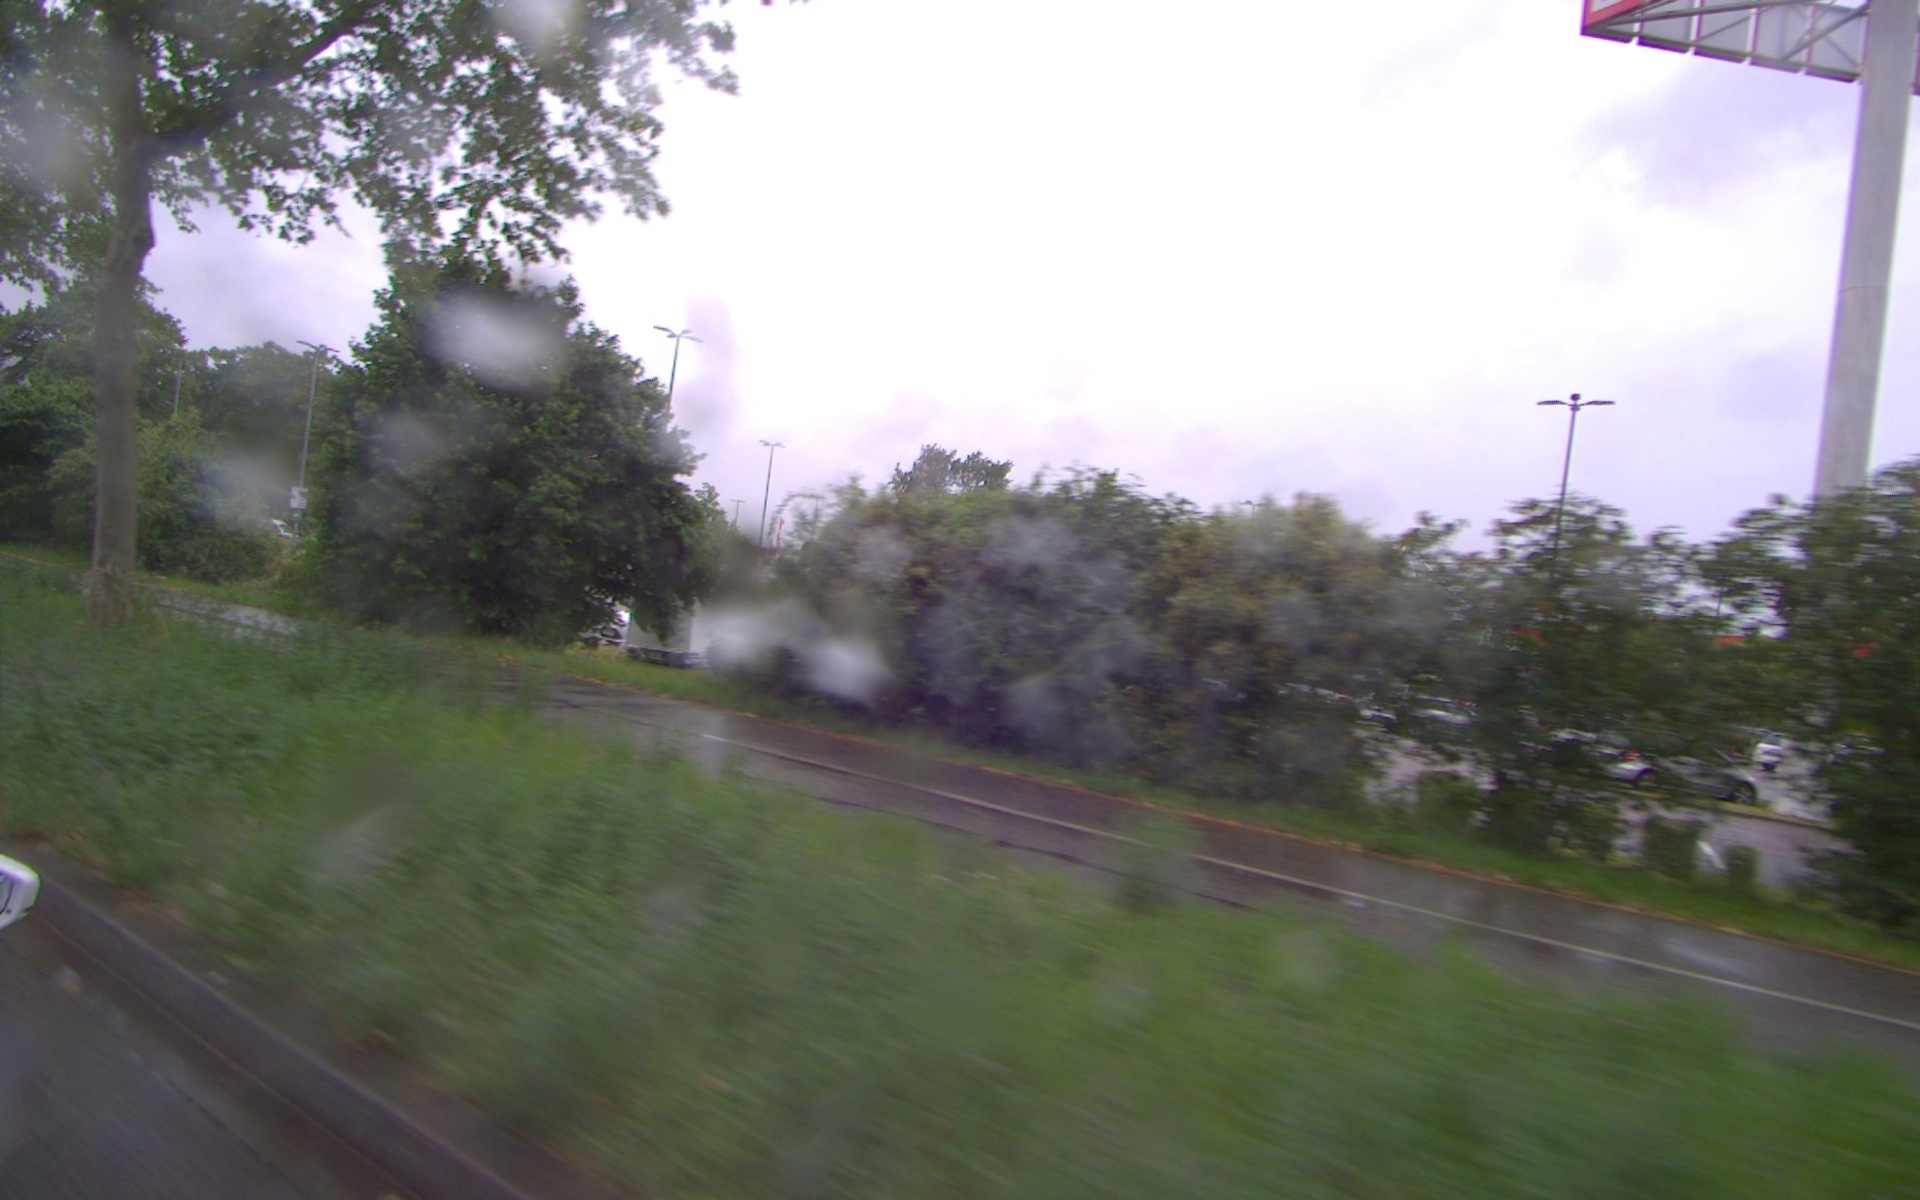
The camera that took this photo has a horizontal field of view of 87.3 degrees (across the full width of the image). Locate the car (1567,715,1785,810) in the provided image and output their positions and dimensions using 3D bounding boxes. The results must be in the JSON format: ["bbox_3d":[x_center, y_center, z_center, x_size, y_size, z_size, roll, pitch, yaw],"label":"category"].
[{"bbox_3d":[18.169,4.117,25.634,4.265,1.653,1.937,8,-1,-8],"label":"car"}]

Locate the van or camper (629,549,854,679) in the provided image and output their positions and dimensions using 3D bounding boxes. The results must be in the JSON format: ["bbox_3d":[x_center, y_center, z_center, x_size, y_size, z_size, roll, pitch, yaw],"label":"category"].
[{"bbox_3d":[-5.321,0.481,25.557,1.966,2.617,5.735,7,-2,31],"label":"van or camper"}]

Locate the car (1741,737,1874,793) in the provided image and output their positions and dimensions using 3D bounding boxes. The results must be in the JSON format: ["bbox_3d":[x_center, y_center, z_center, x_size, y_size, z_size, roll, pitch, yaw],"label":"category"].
[{"bbox_3d":[33.585,6.512,39.937,3.640,1.536,1.818,7,-2,0],"label":"car"}]

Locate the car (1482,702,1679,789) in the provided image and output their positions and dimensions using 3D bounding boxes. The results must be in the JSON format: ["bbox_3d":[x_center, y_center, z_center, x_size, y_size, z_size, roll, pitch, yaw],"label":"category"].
[{"bbox_3d":[17.383,4.061,28.303,4.261,1.653,1.939,8,-1,-4],"label":"car"}]

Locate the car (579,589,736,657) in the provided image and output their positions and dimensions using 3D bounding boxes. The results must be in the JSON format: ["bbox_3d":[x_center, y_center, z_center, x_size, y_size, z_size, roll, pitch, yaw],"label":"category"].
[{"bbox_3d":[-8.800,0.716,29.496,1.849,1.473,3.990,6,-2,36],"label":"car"}]

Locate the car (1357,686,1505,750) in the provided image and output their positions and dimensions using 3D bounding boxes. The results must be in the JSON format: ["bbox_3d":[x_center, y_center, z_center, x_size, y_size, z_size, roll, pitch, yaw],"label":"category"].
[{"bbox_3d":[16.784,4.188,35.983,4.260,1.544,1.940,8,-1,-2],"label":"car"}]
